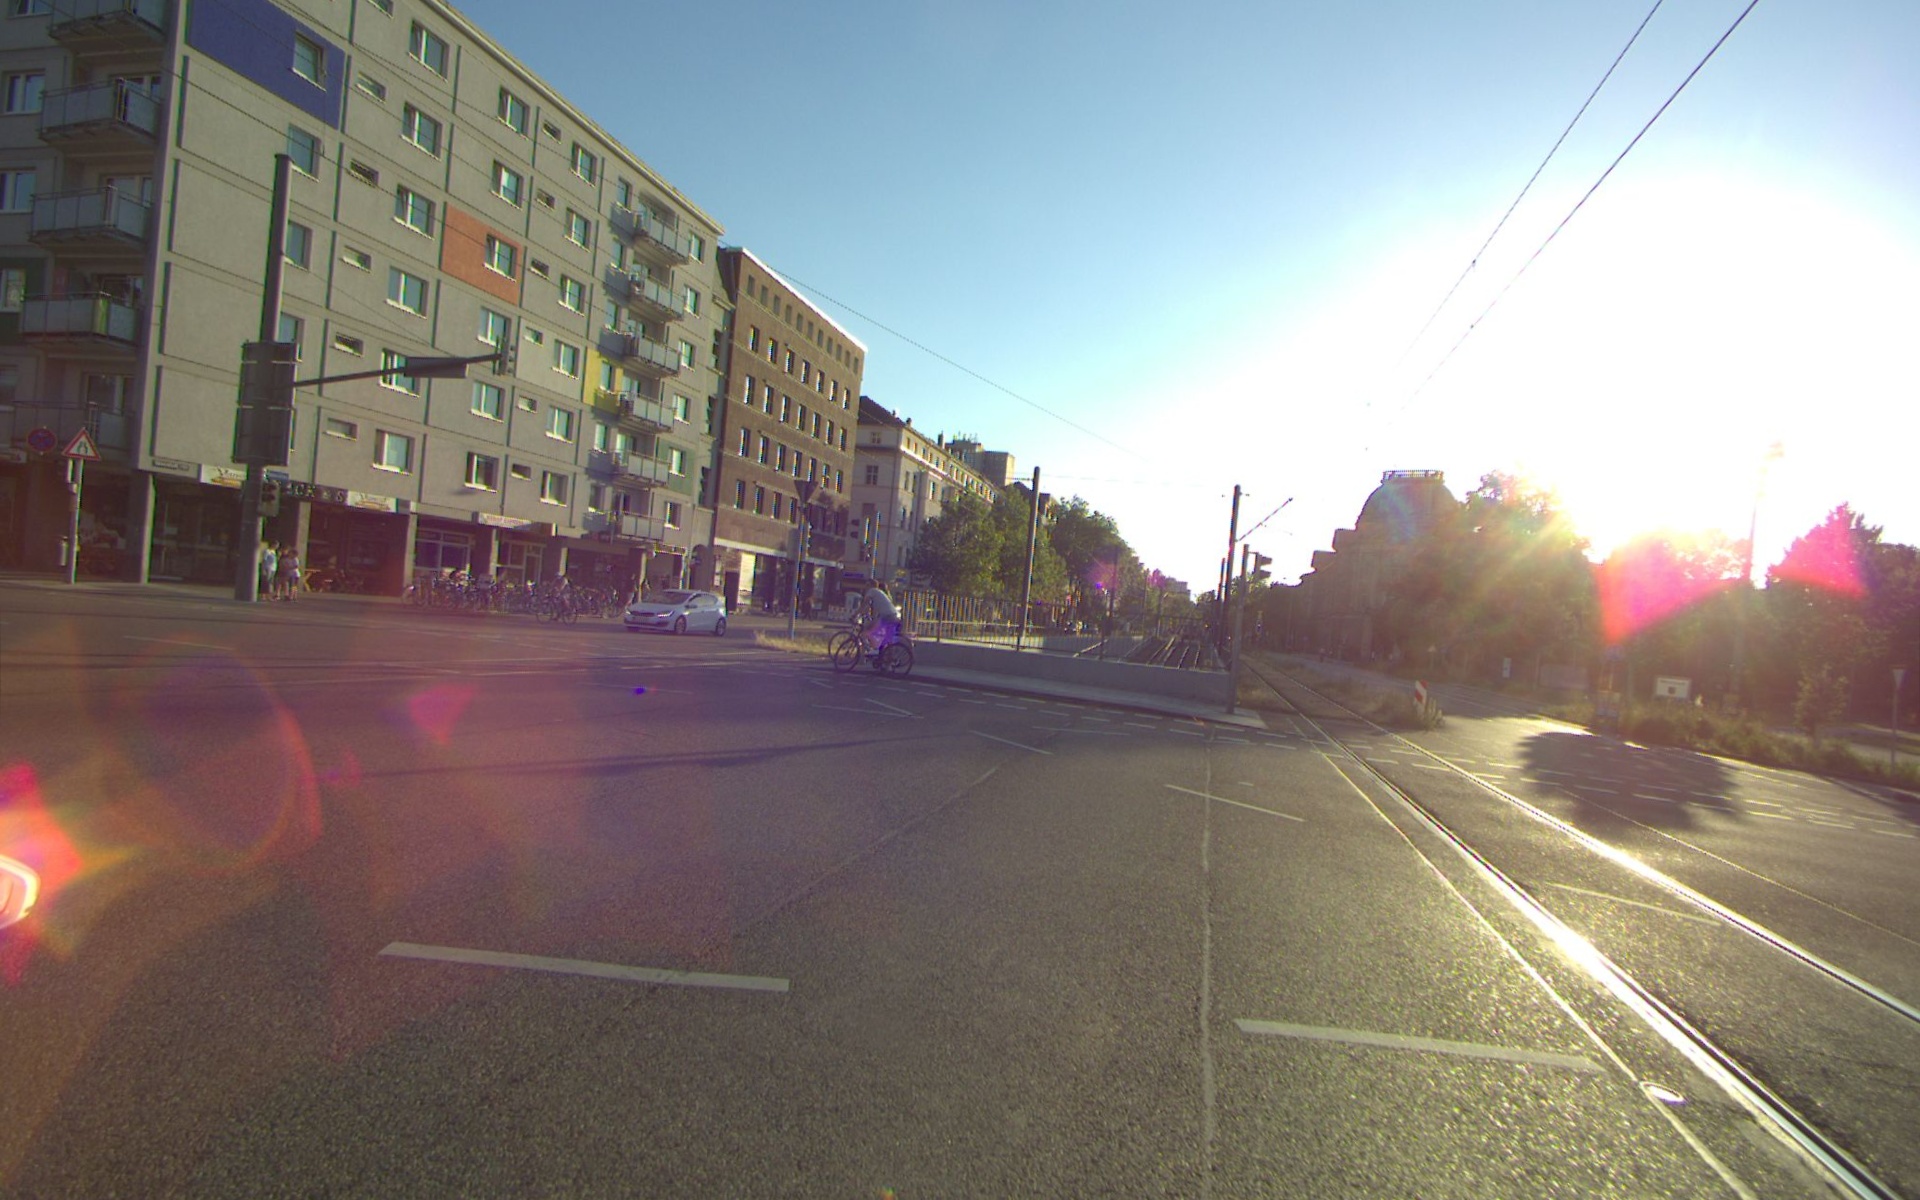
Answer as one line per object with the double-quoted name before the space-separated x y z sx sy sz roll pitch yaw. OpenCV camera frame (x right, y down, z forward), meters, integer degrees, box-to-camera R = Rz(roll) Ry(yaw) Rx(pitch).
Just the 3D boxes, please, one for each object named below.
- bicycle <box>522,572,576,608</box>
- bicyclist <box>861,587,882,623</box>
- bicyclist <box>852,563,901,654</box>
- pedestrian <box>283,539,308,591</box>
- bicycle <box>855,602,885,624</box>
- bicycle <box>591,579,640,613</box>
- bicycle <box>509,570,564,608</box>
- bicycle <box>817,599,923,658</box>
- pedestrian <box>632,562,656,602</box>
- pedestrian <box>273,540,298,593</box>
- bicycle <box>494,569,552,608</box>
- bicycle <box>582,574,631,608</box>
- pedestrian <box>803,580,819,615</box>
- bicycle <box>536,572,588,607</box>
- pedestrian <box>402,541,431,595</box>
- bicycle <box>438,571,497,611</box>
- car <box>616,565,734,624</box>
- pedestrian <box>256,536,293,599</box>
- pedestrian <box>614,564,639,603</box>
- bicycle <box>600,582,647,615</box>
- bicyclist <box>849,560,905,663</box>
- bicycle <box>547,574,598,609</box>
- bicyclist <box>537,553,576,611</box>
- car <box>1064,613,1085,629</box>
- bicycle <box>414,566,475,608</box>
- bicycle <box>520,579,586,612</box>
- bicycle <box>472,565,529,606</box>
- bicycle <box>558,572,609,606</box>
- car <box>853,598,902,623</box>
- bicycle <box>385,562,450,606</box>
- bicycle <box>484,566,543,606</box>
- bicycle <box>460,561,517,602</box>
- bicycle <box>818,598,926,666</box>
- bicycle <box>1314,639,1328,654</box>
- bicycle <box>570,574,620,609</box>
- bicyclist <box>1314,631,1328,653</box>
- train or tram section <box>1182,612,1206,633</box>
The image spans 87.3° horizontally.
"bicycle" -15.185 -0.370 37.162 1.743 1.150 0.605 6 1 15
"bicyclist" -5.267 0.315 59.977 0.784 2.040 0.923 6 1 17
"bicyclist" -1.745 0.175 21.135 0.862 1.842 0.537 4 1 0
"pedestrian" -18.509 -0.983 28.008 0.376 1.401 0.394 5 2 -13
"bicycle" -5.348 0.780 59.858 0.800 1.216 2.412 6 0 17
"bicycle" -14.060 -0.165 41.051 1.664 1.185 0.748 6 1 17
"bicycle" -15.393 -0.401 36.560 1.748 1.174 0.605 6 1 15
"bicycle" -1.885 0.595 21.147 2.130 1.098 0.538 3 1 0
"pedestrian" -15.326 -0.870 48.813 0.773 1.865 0.734 5 1 6
"pedestrian" -19.093 -0.951 28.469 0.372 1.467 0.393 5 2 -13
"bicycle" -15.573 -0.410 35.877 1.802 1.175 0.640 6 1 15
"bicycle" -14.149 -0.366 40.268 1.664 1.194 0.748 6 1 17
"pedestrian" -9.830 -0.163 66.456 0.592 2.206 0.792 6 1 14
"bicycle" -14.918 -0.391 37.714 1.727 1.131 0.552 6 1 16
"pedestrian" -18.035 -1.055 33.406 0.572 1.706 0.544 6 2 36
"bicycle" -16.351 -0.304 33.419 1.729 1.153 0.599 6 1 16
"car" -8.959 -0.124 31.995 1.662 1.638 4.000 5 0 16
"pedestrian" -18.612 -0.868 27.307 0.564 1.641 0.601 5 2 -16
"pedestrian" -16.181 -0.798 48.840 0.813 1.836 0.721 6 1 4
"bicycle" -13.984 -0.061 41.792 1.664 1.159 0.696 6 1 17
"bicyclist" -1.579 0.218 19.153 0.780 1.841 0.646 6 1 8
"bicycle" -14.755 -0.323 38.277 1.733 1.134 0.568 6 1 16
"bicyclist" -12.929 -0.562 32.234 0.691 1.765 0.790 6 1 26
"car" 14.678 2.682 128.603 1.856 1.764 4.330 6 0 16
"bicycle" -16.864 -0.424 32.928 1.748 1.156 0.608 6 1 15
"bicycle" -12.993 -0.136 32.173 0.693 0.893 1.944 6 0 26
"bicycle" -15.751 -0.494 34.494 1.741 1.197 0.568 6 1 15
"bicycle" -14.562 -0.412 38.893 1.700 1.138 0.634 6 0 17
"car" -5.500 0.715 67.680 1.791 1.438 3.999 6 0 18
"bicycle" -17.300 -0.512 32.097 1.766 1.224 0.638 6 1 14
"bicycle" -15.595 -0.492 35.128 1.760 1.206 0.651 6 1 14
"bicycle" -15.889 -0.628 33.916 1.738 1.182 0.540 6 1 15
"bicycle" -1.671 0.601 19.171 1.871 1.089 0.632 6 1 8
"bicycle" 39.397 5.067 109.890 1.080 1.416 2.832 6 0 14
"bicycle" -14.339 -0.327 39.556 1.664 1.167 0.705 6 1 17
"bicyclist" 39.460 4.620 109.934 1.065 2.306 0.986 6 1 15
"train or tram section" 51.238 4.892 220.623 4.316 3.899 11.411 6 0 11
